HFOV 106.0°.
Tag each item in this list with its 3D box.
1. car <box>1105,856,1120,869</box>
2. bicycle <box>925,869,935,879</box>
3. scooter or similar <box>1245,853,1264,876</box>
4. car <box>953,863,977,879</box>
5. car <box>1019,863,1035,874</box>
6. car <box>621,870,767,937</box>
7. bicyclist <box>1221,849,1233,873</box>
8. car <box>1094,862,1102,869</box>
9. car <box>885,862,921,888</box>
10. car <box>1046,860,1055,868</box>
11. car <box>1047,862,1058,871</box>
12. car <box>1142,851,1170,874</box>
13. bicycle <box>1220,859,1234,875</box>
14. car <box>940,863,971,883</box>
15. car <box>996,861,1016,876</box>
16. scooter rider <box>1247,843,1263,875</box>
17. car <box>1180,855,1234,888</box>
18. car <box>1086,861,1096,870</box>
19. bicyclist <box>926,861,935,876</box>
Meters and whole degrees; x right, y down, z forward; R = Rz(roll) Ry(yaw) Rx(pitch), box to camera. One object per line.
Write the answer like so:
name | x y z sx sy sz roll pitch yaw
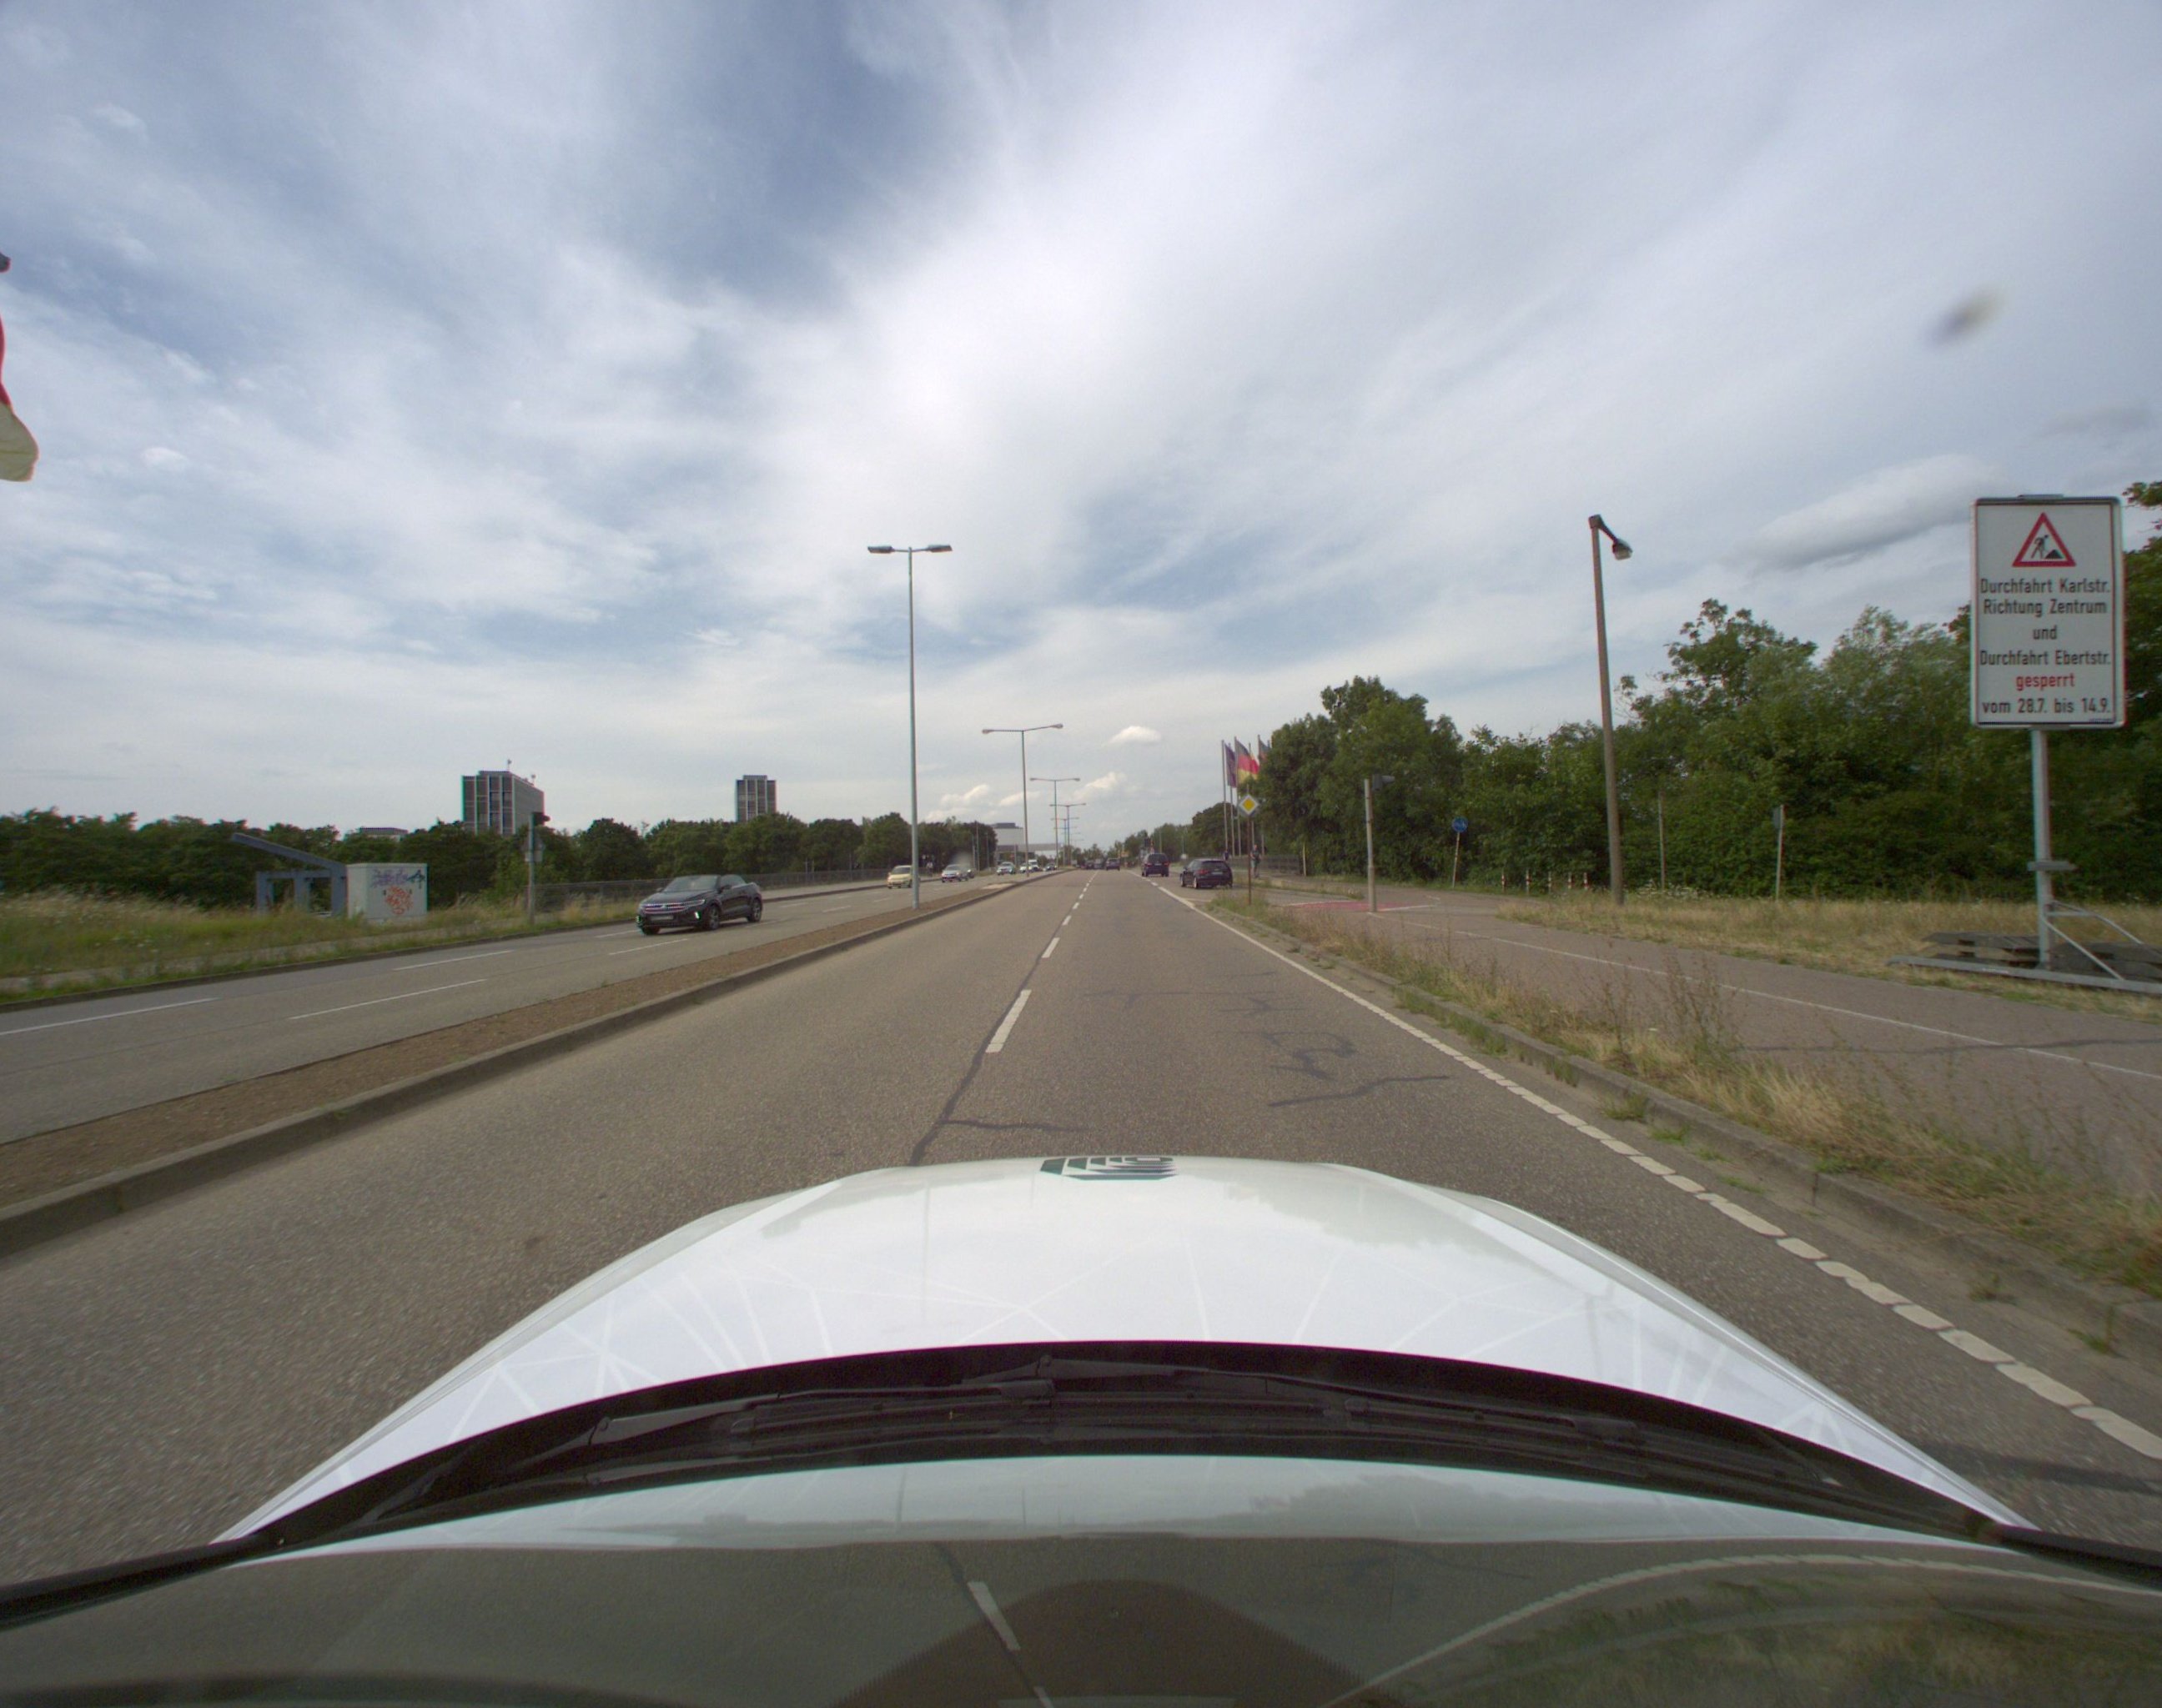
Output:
car | 4.072 1.164 105.776 1.725 1.653 4.114 -1 -1 0
bicycle | -16.441 2.155 88.772 0.704 1.049 2.058 -1 -1 -1
scooter or similar | 9.275 0.565 43.576 0.587 1.224 1.200 0 -1 -7
car | -11.844 1.738 83.662 1.734 1.515 4.315 -3 -1 0
car | -8.028 2.088 121.170 1.730 1.480 4.476 -3 -1 4
car | -10.164 1.232 21.799 1.757 1.441 4.178 -3 0 1
bicyclist | 10.116 0.488 56.402 0.662 1.659 0.805 -1 0 1
car | 3.908 2.643 188.193 1.725 1.526 4.114 -1 -1 1
car | -12.272 1.436 56.253 1.543 1.578 3.691 -3 0 1
car | -7.135 2.395 190.827 1.534 1.871 3.572 -3 -1 2
car | -5.032 2.248 144.141 1.732 1.481 4.776 -3 -2 1
car | 5.563 0.675 60.913 1.725 1.653 4.114 -1 -1 0
bicycle | 10.130 0.916 56.463 0.575 1.022 1.976 -4 1 1
car | -10.708 1.619 69.571 1.642 1.515 4.021 -3 0 5
car | -9.586 1.847 104.331 1.855 1.725 4.772 -3 -1 2
scooter rider | 9.290 0.273 43.441 0.587 1.690 0.742 0 -1 -6
car | 5.911 0.785 38.720 1.726 1.395 4.111 -2 0 -3
car | 1.904 2.138 151.188 1.724 1.653 4.116 -1 -1 2
bicyclist | -16.436 1.623 88.900 0.792 1.626 0.976 0 -1 -1
